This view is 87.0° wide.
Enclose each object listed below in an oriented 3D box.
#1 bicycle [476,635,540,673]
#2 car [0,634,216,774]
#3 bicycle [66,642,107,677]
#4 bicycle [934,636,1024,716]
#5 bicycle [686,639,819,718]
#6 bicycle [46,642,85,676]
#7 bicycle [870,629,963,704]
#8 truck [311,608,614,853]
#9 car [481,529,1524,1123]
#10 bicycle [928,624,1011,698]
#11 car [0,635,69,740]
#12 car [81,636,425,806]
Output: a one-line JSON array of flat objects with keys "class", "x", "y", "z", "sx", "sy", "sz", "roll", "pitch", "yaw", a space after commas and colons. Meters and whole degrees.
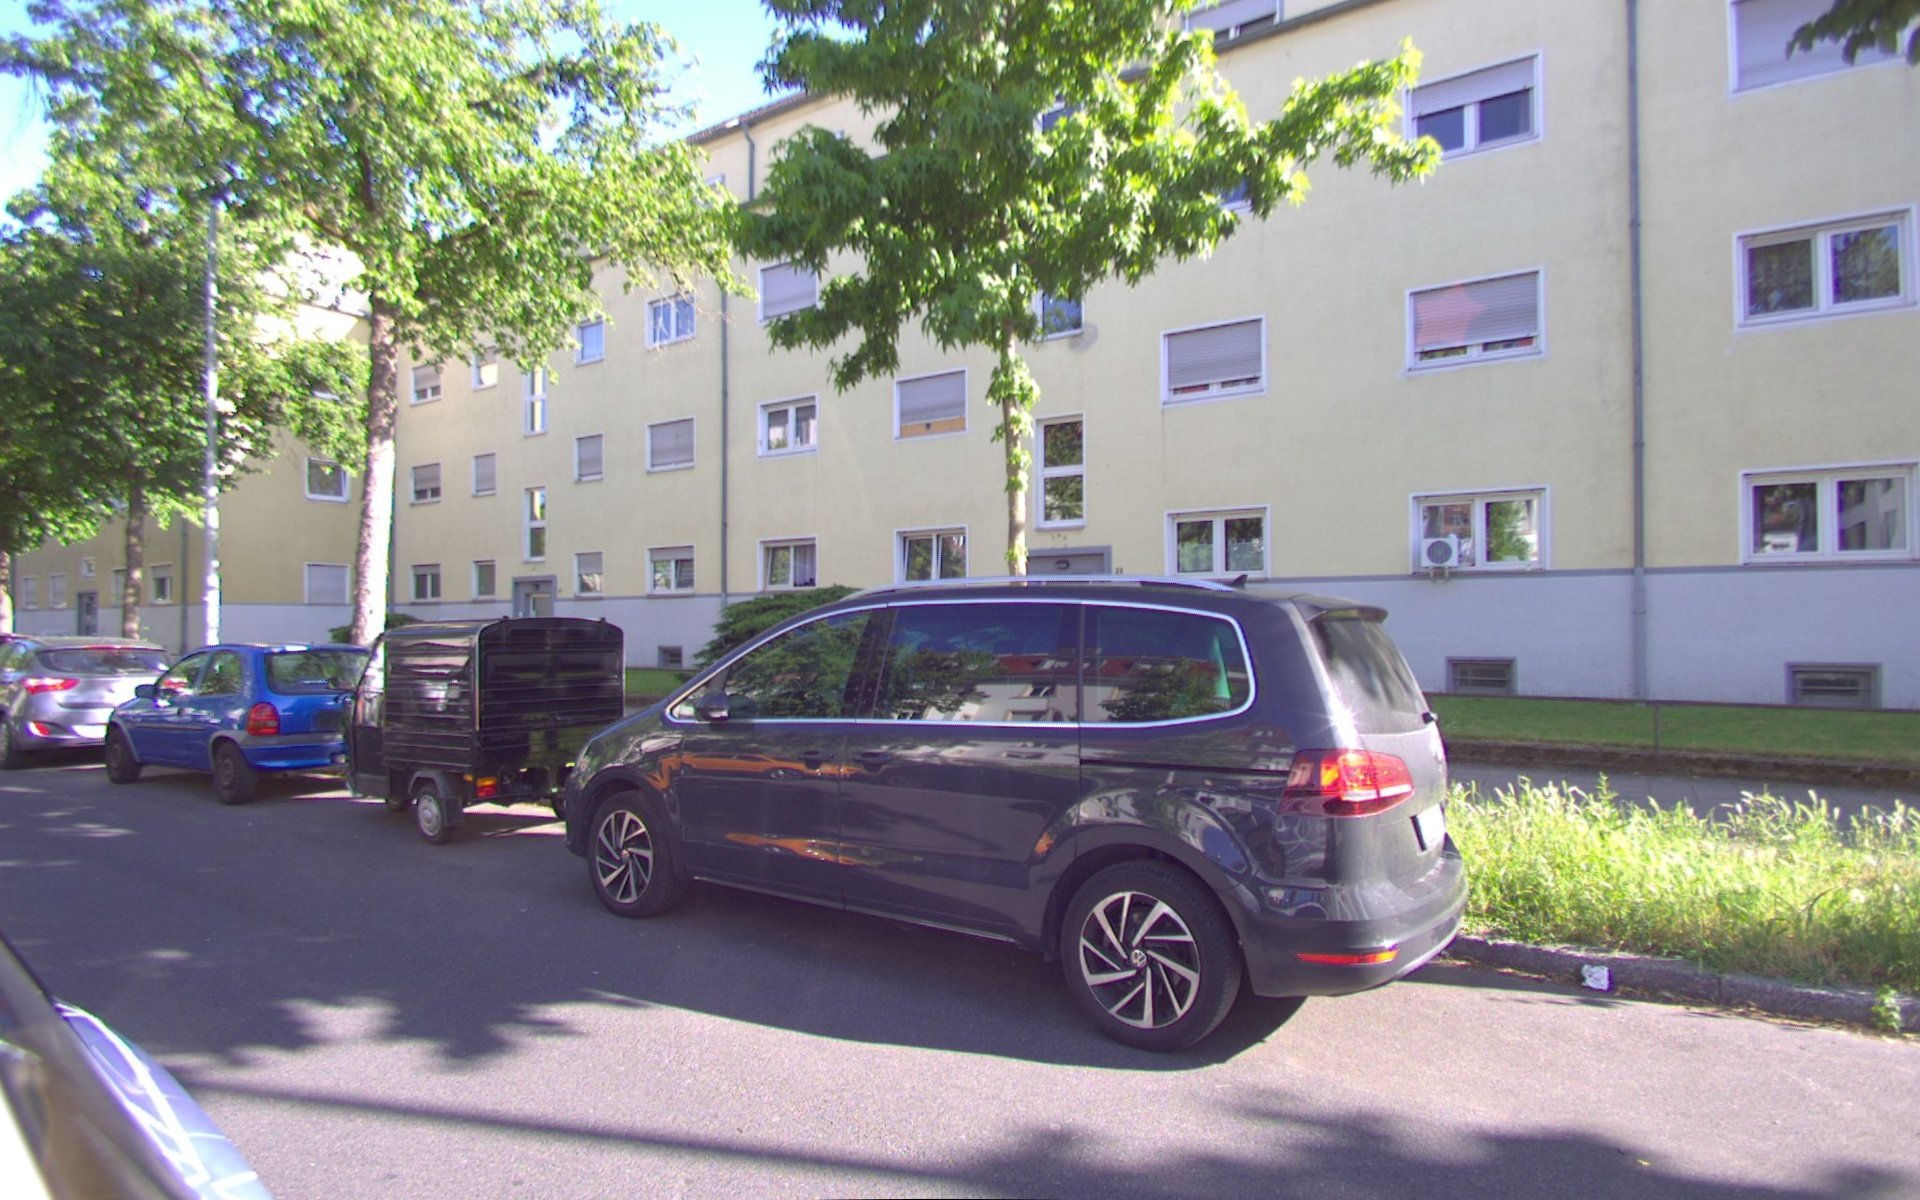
[{"class": "bicycle", "x": -11.768, "y": 1.396, "z": 26.395, "sx": 0.478, "sy": 0.938, "sz": 1.623, "roll": -1, "pitch": -2, "yaw": 25}, {"class": "car", "x": -11.240, "y": 1.176, "z": 12.609, "sx": 4.678, "sy": 1.455, "sz": 1.776, "roll": -2, "pitch": -4, "yaw": 36}, {"class": "bicycle", "x": -26.852, "y": 1.805, "z": 31.102, "sx": 1.744, "sy": 1.034, "sz": 0.531, "roll": -2, "pitch": -2, "yaw": 36}, {"class": "bicycle", "x": 0.300, "y": 1.076, "z": 14.800, "sx": 0.485, "sy": 1.089, "sz": 1.826, "roll": -1, "pitch": -2, "yaw": 30}, {"class": "bicycle", "x": -2.995, "y": 1.123, "z": 14.649, "sx": 1.825, "sy": 1.089, "sz": 0.485, "roll": -1, "pitch": 1, "yaw": 10}, {"class": "bicycle", "x": -28.451, "y": 1.860, "z": 32.177, "sx": 1.744, "sy": 1.034, "sz": 0.535, "roll": -2, "pitch": -2, "yaw": 36}, {"class": "bicycle", "x": -0.690, "y": 1.064, "z": 16.733, "sx": 0.486, "sy": 1.089, "sz": 1.823, "roll": 0, "pitch": 1, "yaw": 36}, {"class": "truck", "x": -3.850, "y": 0.892, "z": 7.756, "sx": 2.427, "sy": 1.589, "sz": 1.074, "roll": -2, "pitch": -2, "yaw": 36}, {"class": "car", "x": -0.093, "y": 0.753, "z": 5.069, "sx": 4.962, "sy": 1.693, "sz": 1.834, "roll": -2, "pitch": -5, "yaw": 34}, {"class": "bicycle", "x": 0.200, "y": 1.048, "z": 17.871, "sx": 0.486, "sy": 1.154, "sz": 1.823, "roll": 0, "pitch": 1, "yaw": 36}, {"class": "car", "x": -15.768, "y": 1.315, "z": 15.911, "sx": 4.258, "sy": 1.527, "sz": 1.606, "roll": -2, "pitch": -4, "yaw": 35}, {"class": "car", "x": -7.111, "y": 1.067, "z": 10.098, "sx": 3.715, "sy": 1.406, "sz": 1.509, "roll": -1, "pitch": -2, "yaw": 33}]
